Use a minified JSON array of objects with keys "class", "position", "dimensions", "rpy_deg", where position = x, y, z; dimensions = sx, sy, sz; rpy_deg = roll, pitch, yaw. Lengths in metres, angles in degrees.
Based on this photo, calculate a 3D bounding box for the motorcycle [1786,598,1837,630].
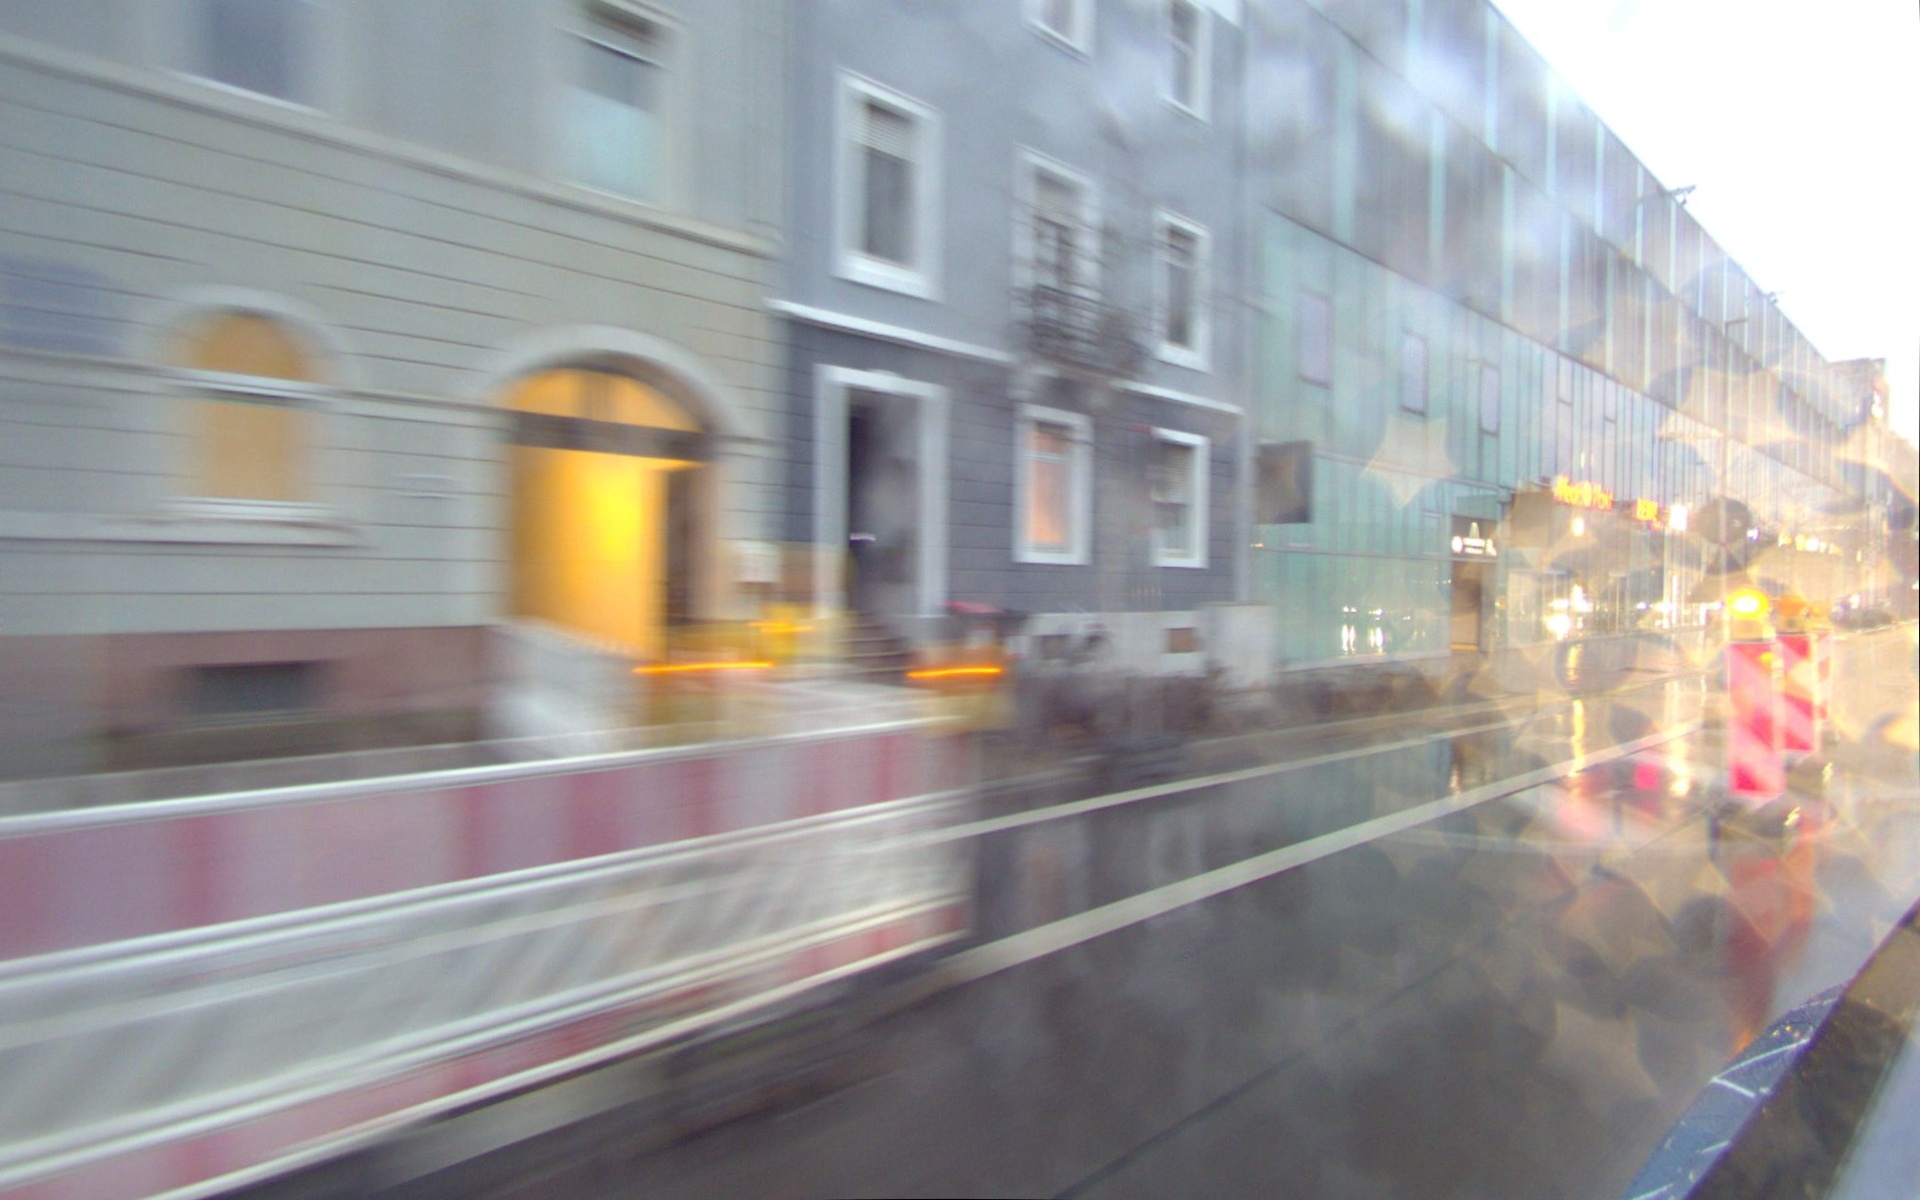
[{"class":"motorcycle","position":[37.350,0.599,44.425],"dimensions":[0.584,1.350,1.911],"rpy_deg":[0,1,-2]}]

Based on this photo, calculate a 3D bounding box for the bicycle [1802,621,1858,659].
[{"class":"bicycle","position":[25.432,1.146,29.571],"dimensions":[2.201,1.012,0.944],"rpy_deg":[0,0,-41]}]

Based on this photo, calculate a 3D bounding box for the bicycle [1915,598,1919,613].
[{"class":"bicycle","position":[76.206,0.488,79.340],"dimensions":[0.655,1.189,1.906],"rpy_deg":[0,2,-42]}]

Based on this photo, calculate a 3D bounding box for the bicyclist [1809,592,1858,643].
[{"class":"bicyclist","position":[25.569,0.497,29.637],"dimensions":[1.048,1.481,0.944],"rpy_deg":[0,0,-41]}]

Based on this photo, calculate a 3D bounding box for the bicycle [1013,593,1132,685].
[{"class":"bicycle","position":[1.693,0.537,15.014],"dimensions":[1.874,1.237,0.683],"rpy_deg":[-1,4,-44]}]
